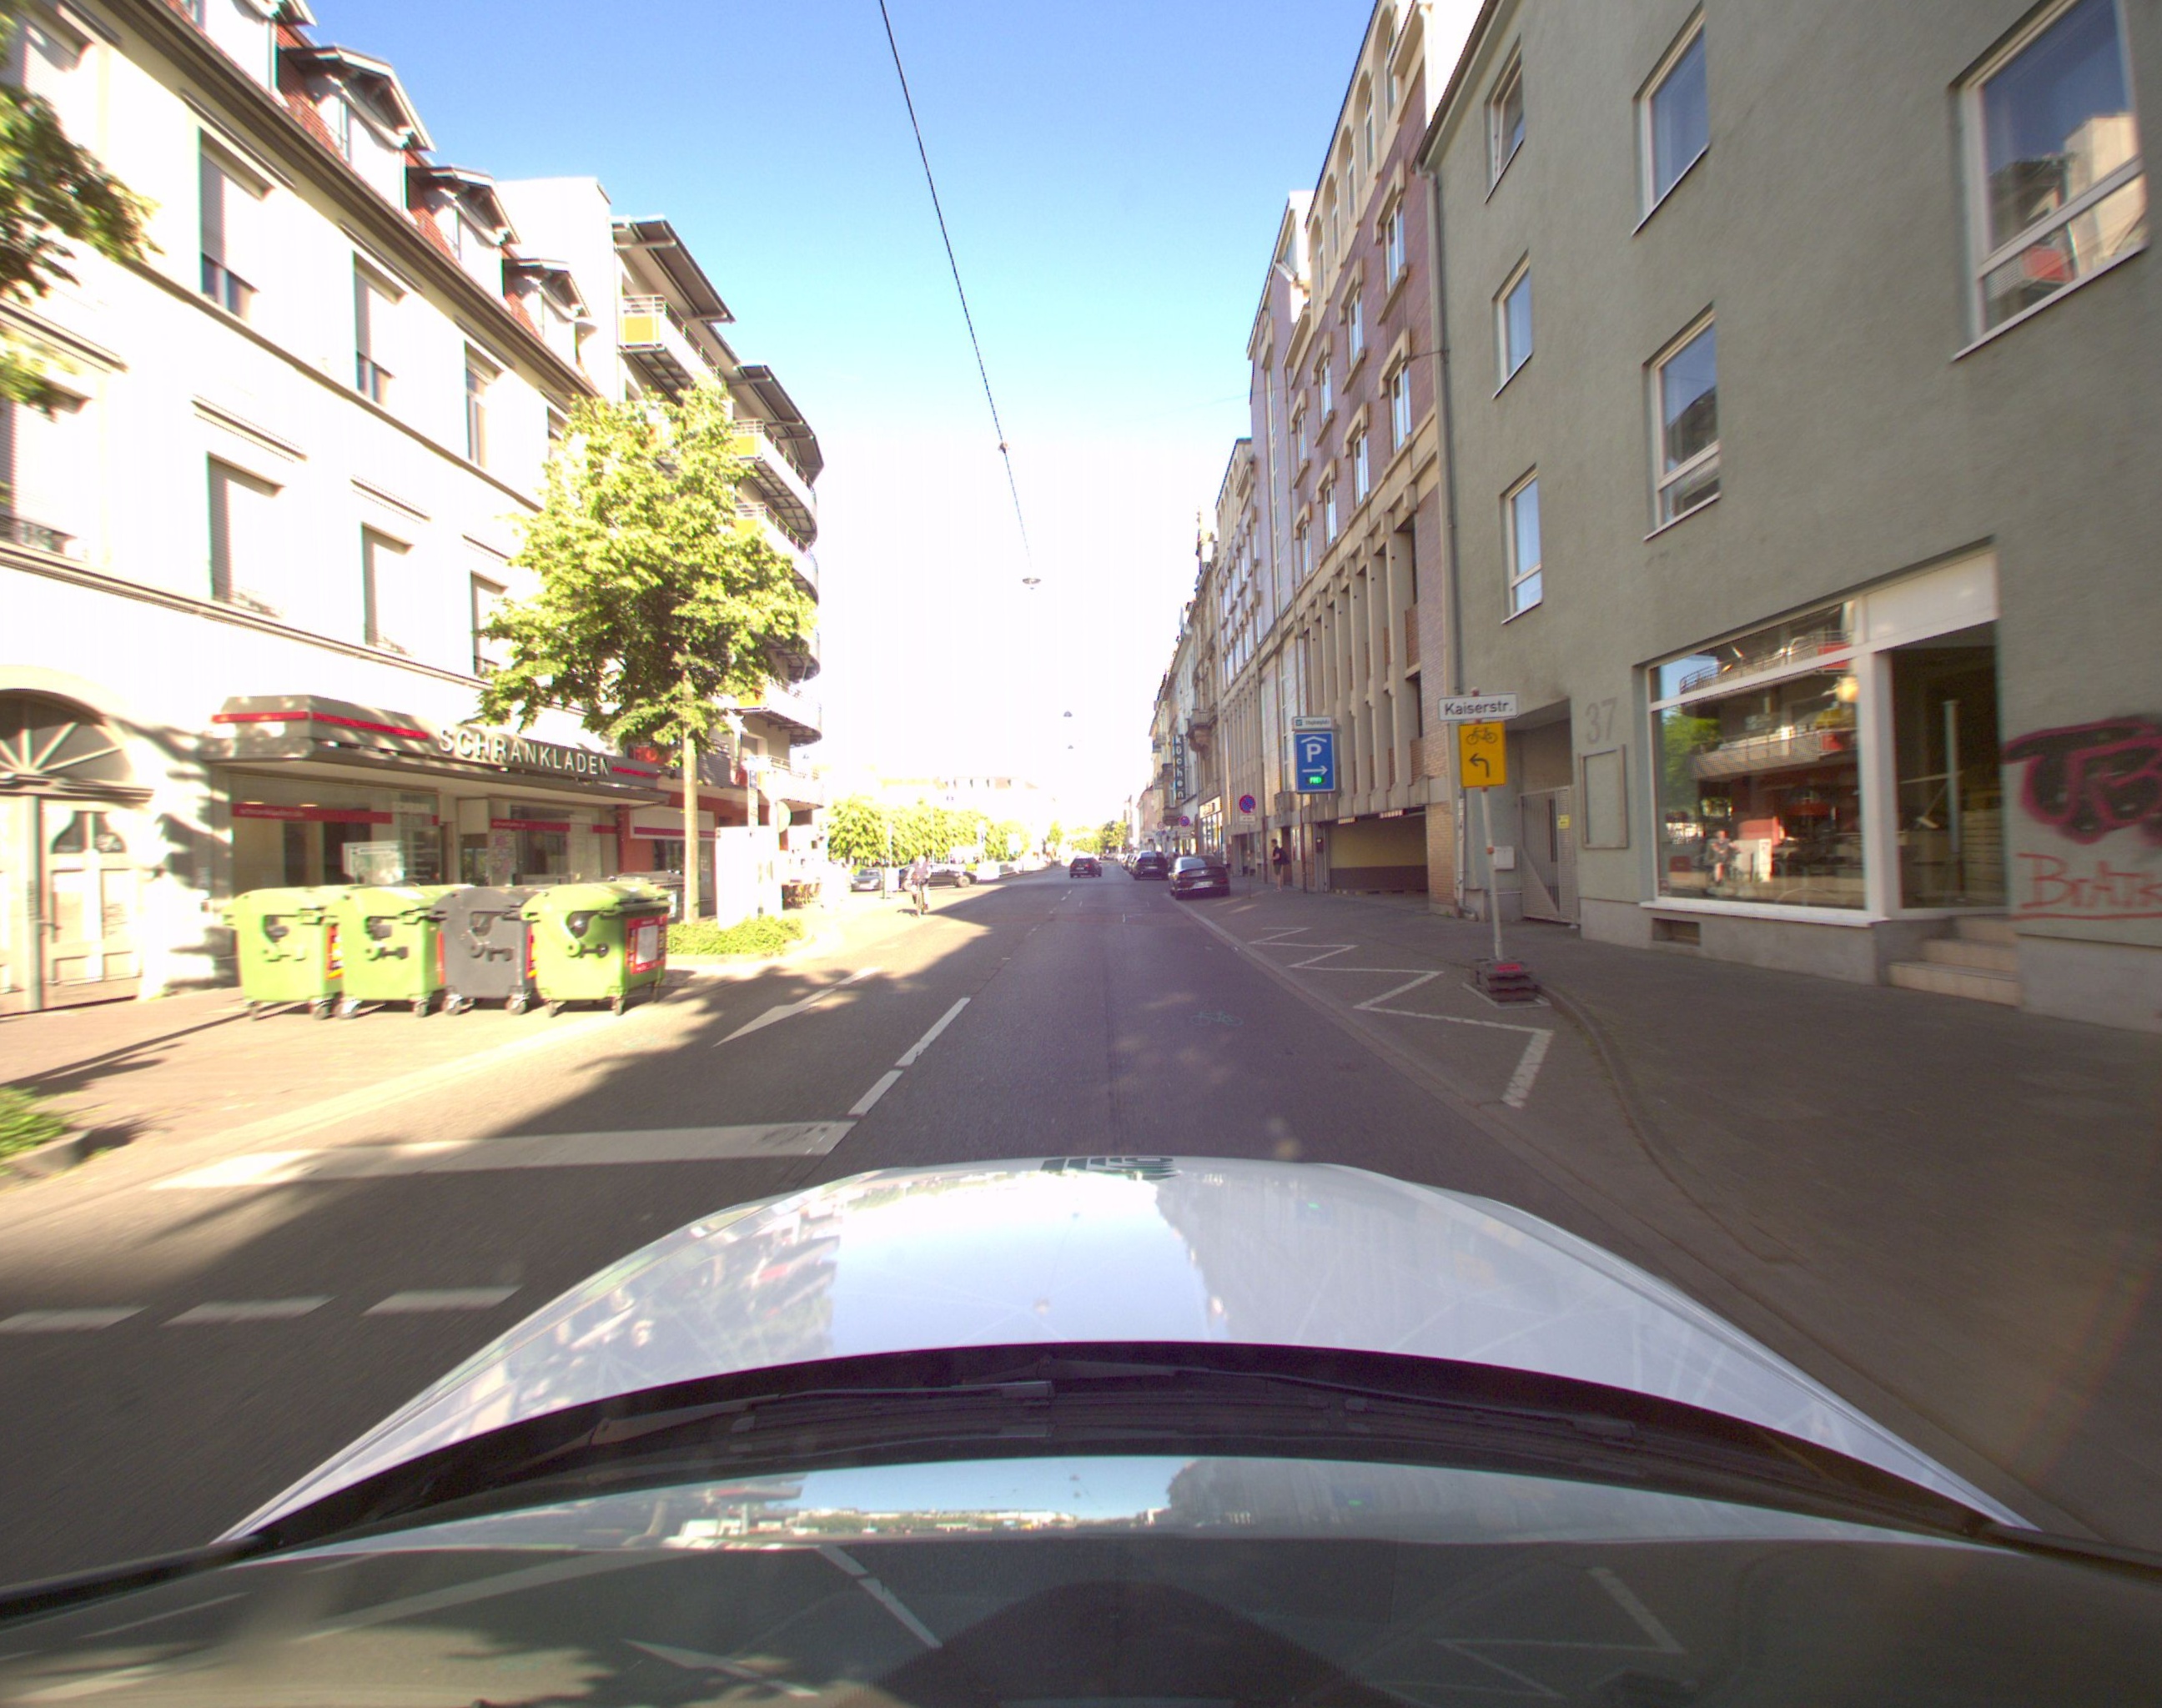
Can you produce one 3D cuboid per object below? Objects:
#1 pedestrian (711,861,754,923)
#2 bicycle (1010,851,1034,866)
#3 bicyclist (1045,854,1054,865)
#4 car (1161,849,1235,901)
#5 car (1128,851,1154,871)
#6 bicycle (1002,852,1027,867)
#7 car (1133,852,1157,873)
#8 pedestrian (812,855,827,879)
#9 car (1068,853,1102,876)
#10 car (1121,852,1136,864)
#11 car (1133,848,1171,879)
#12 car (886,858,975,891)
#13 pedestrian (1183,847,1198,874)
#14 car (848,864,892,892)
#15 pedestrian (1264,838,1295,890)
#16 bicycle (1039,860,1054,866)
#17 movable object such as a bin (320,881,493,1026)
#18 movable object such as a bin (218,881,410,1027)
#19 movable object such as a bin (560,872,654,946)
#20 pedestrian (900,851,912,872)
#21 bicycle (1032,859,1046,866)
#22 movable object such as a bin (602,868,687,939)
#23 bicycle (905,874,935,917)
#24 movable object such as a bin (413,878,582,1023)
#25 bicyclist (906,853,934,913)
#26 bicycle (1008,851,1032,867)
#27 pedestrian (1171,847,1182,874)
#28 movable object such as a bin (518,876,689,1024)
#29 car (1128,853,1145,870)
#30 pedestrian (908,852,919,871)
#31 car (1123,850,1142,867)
[{"bbox_3d":[-9.679,1.029,22.647,0.662,1.659,1.037,-2,0,1],"label":"pedestrian"},{"bbox_3d":[-8.298,0.665,114.125,3.101,2.013,0.911,-2,0,10],"label":"bicycle"},{"bbox_3d":[-4.866,0.842,126.404,1.140,1.686,0.916,-2,0,5],"label":"bicyclist"},{"bbox_3d":[3.978,0.666,28.429,1.910,1.478,4.967,-6,0,2],"label":"car"},{"bbox_3d":[4.803,0.522,65.193,1.832,1.546,4.229,-1,0,1],"label":"car"},{"bbox_3d":[-8.964,0.728,110.065,3.101,2.013,0.911,-2,0,10],"label":"bicycle"},{"bbox_3d":[4.636,0.576,59.537,1.602,1.449,3.832,-1,0,2],"label":"car"},{"bbox_3d":[-24.112,1.191,75.115,0.725,2.108,0.973,-2,0,24],"label":"pedestrian"},{"bbox_3d":[0.341,0.728,57.564,1.925,1.487,4.279,-2,0,6],"label":"car"},{"bbox_3d":[5.869,0.548,101.313,1.785,1.460,3.870,-1,-1,2],"label":"car"},{"bbox_3d":[4.098,0.509,47.921,1.966,1.725,4.826,-1,0,2],"label":"car"},{"bbox_3d":[-8.071,1.062,43.590,4.492,1.480,1.990,-3,0,-18],"label":"car"},{"bbox_3d":[7.178,0.413,53.325,0.797,1.675,0.590,-4,0,4],"label":"pedestrian"},{"bbox_3d":[-12.887,1.440,49.921,1.745,1.422,4.532,-2,1,-4],"label":"car"},{"bbox_3d":[6.539,0.309,26.885,0.689,1.635,0.889,-4,0,1],"label":"pedestrian"},{"bbox_3d":[-5.380,1.402,126.446,2.233,0.883,0.925,-2,0,5],"label":"bicycle"},{"bbox_3d":[-7.619,1.081,9.276,0.960,1.471,1.143,-2,0,0],"label":"movable object such as a bin"},{"bbox_3d":[-8.666,1.085,9.270,1.038,1.471,1.143,-2,0,0],"label":"movable object such as a bin"},{"bbox_3d":[-9.423,1.063,16.249,1.038,1.345,1.314,-2,0,0],"label":"movable object such as a bin"},{"bbox_3d":[-18.022,0.796,83.952,0.725,2.108,0.973,-2,0,24],"label":"pedestrian"},{"bbox_3d":[-6.417,1.237,124.260,2.006,1.022,0.762,-2,0,-2],"label":"bicycle"},{"bbox_3d":[-9.386,1.042,17.570,1.038,1.404,1.314,-2,0,0],"label":"movable object such as a bin"},{"bbox_3d":[-4.666,1.180,23.655,0.705,1.146,1.962,-3,0,-8],"label":"bicycle"},{"bbox_3d":[-6.596,1.055,9.293,1.038,1.471,1.143,-2,0,0],"label":"movable object such as a bin"},{"bbox_3d":[-4.676,0.830,23.692,0.696,1.653,1.033,-2,0,-9],"label":"bicyclist"},{"bbox_3d":[-8.436,0.693,113.048,3.101,2.013,0.911,-2,0,10],"label":"bicycle"},{"bbox_3d":[6.267,0.423,53.479,0.617,1.766,0.519,-2,0,4],"label":"pedestrian"},{"bbox_3d":[-5.399,1.035,9.337,1.038,1.471,1.452,-2,0,0],"label":"movable object such as a bin"},{"bbox_3d":[5.302,0.736,78.154,1.607,1.546,2.857,-1,0,3],"label":"car"},{"bbox_3d":[-19.083,0.846,92.755,0.725,2.108,0.973,-2,0,24],"label":"pedestrian"},{"bbox_3d":[5.285,0.488,83.882,1.711,1.635,4.083,-1,-1,0],"label":"car"}]
